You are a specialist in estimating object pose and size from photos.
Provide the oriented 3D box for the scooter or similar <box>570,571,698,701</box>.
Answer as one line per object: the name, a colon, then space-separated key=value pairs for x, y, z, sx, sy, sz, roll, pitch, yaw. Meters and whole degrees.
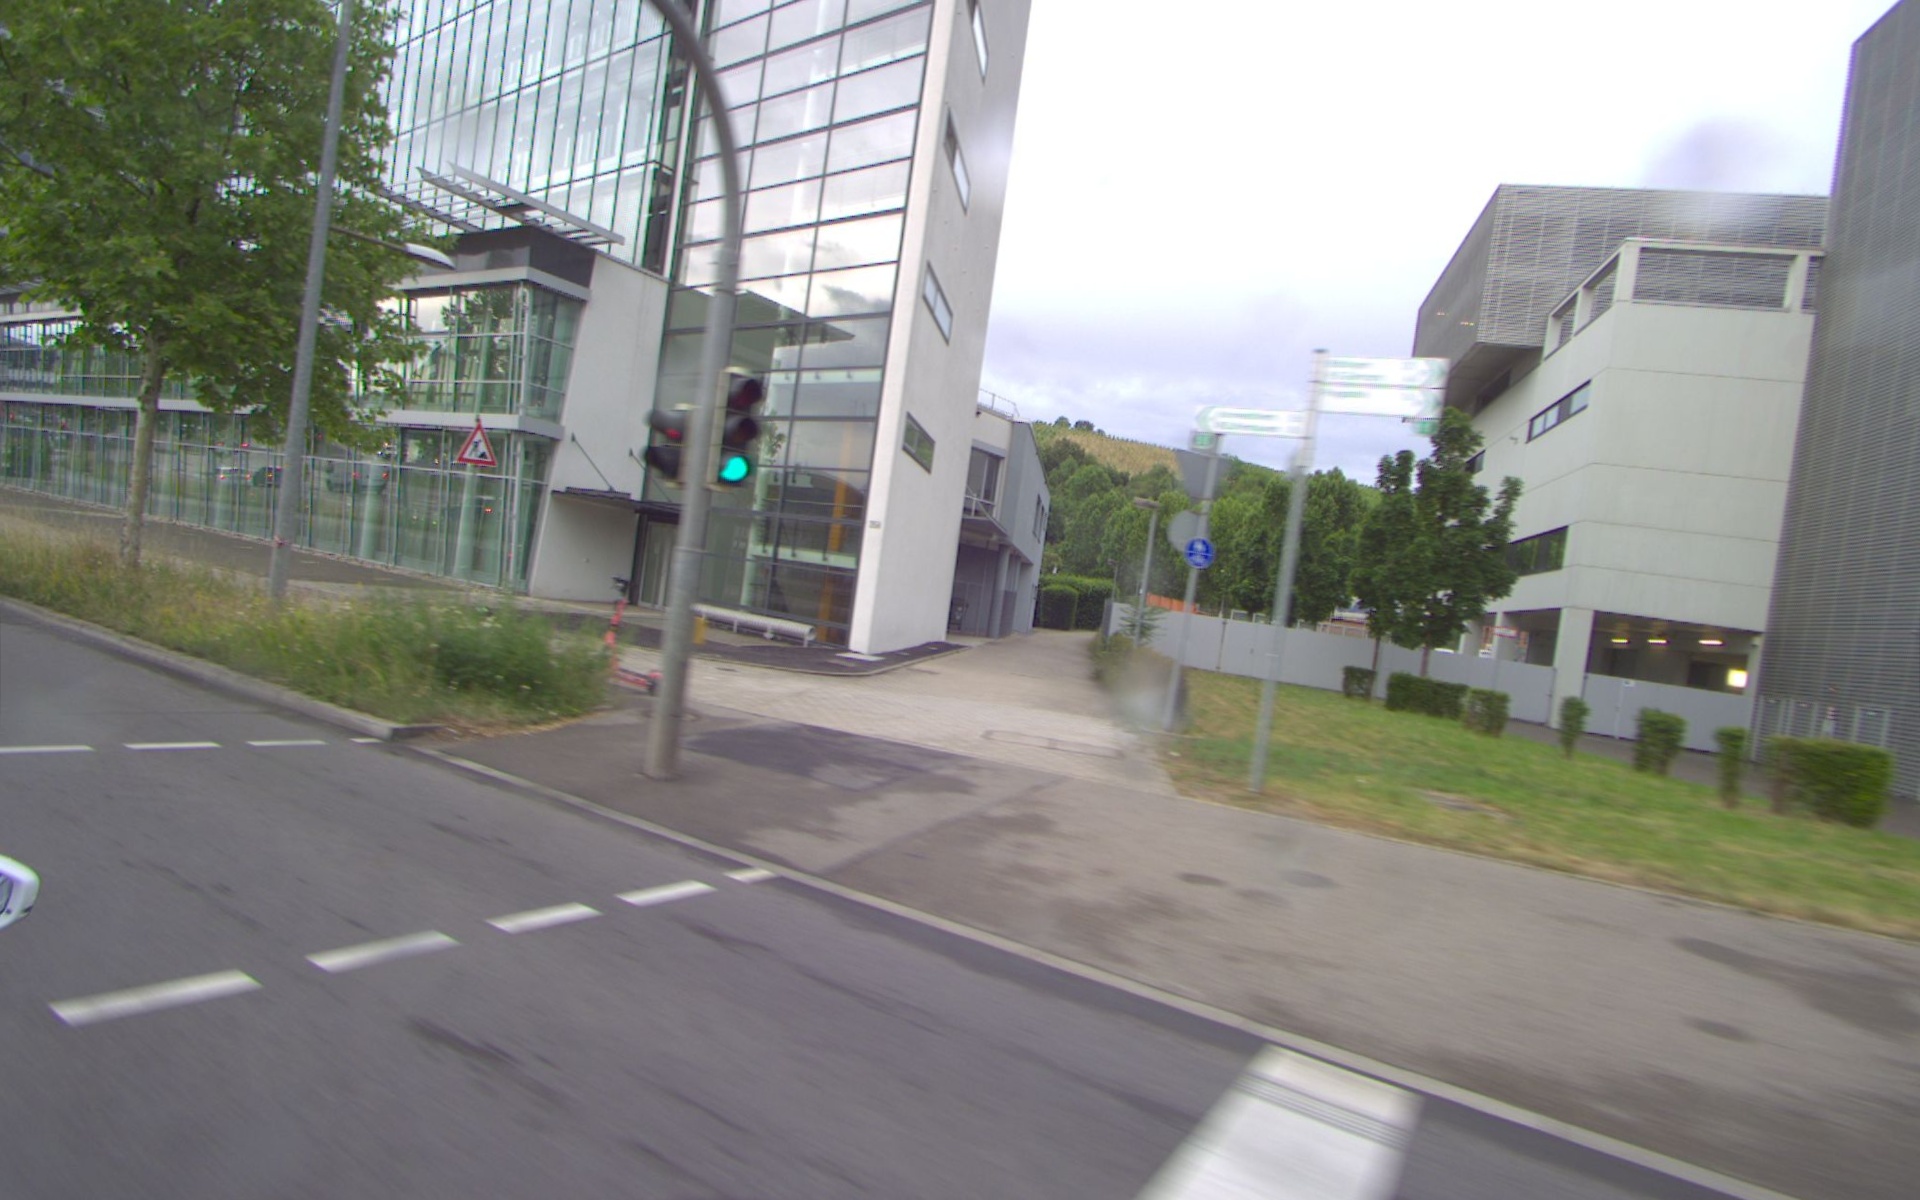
scooter or similar: x=-3.674 y=0.387 z=11.310 sx=1.313 sy=1.280 sz=0.458 roll=7 pitch=2 yaw=24
